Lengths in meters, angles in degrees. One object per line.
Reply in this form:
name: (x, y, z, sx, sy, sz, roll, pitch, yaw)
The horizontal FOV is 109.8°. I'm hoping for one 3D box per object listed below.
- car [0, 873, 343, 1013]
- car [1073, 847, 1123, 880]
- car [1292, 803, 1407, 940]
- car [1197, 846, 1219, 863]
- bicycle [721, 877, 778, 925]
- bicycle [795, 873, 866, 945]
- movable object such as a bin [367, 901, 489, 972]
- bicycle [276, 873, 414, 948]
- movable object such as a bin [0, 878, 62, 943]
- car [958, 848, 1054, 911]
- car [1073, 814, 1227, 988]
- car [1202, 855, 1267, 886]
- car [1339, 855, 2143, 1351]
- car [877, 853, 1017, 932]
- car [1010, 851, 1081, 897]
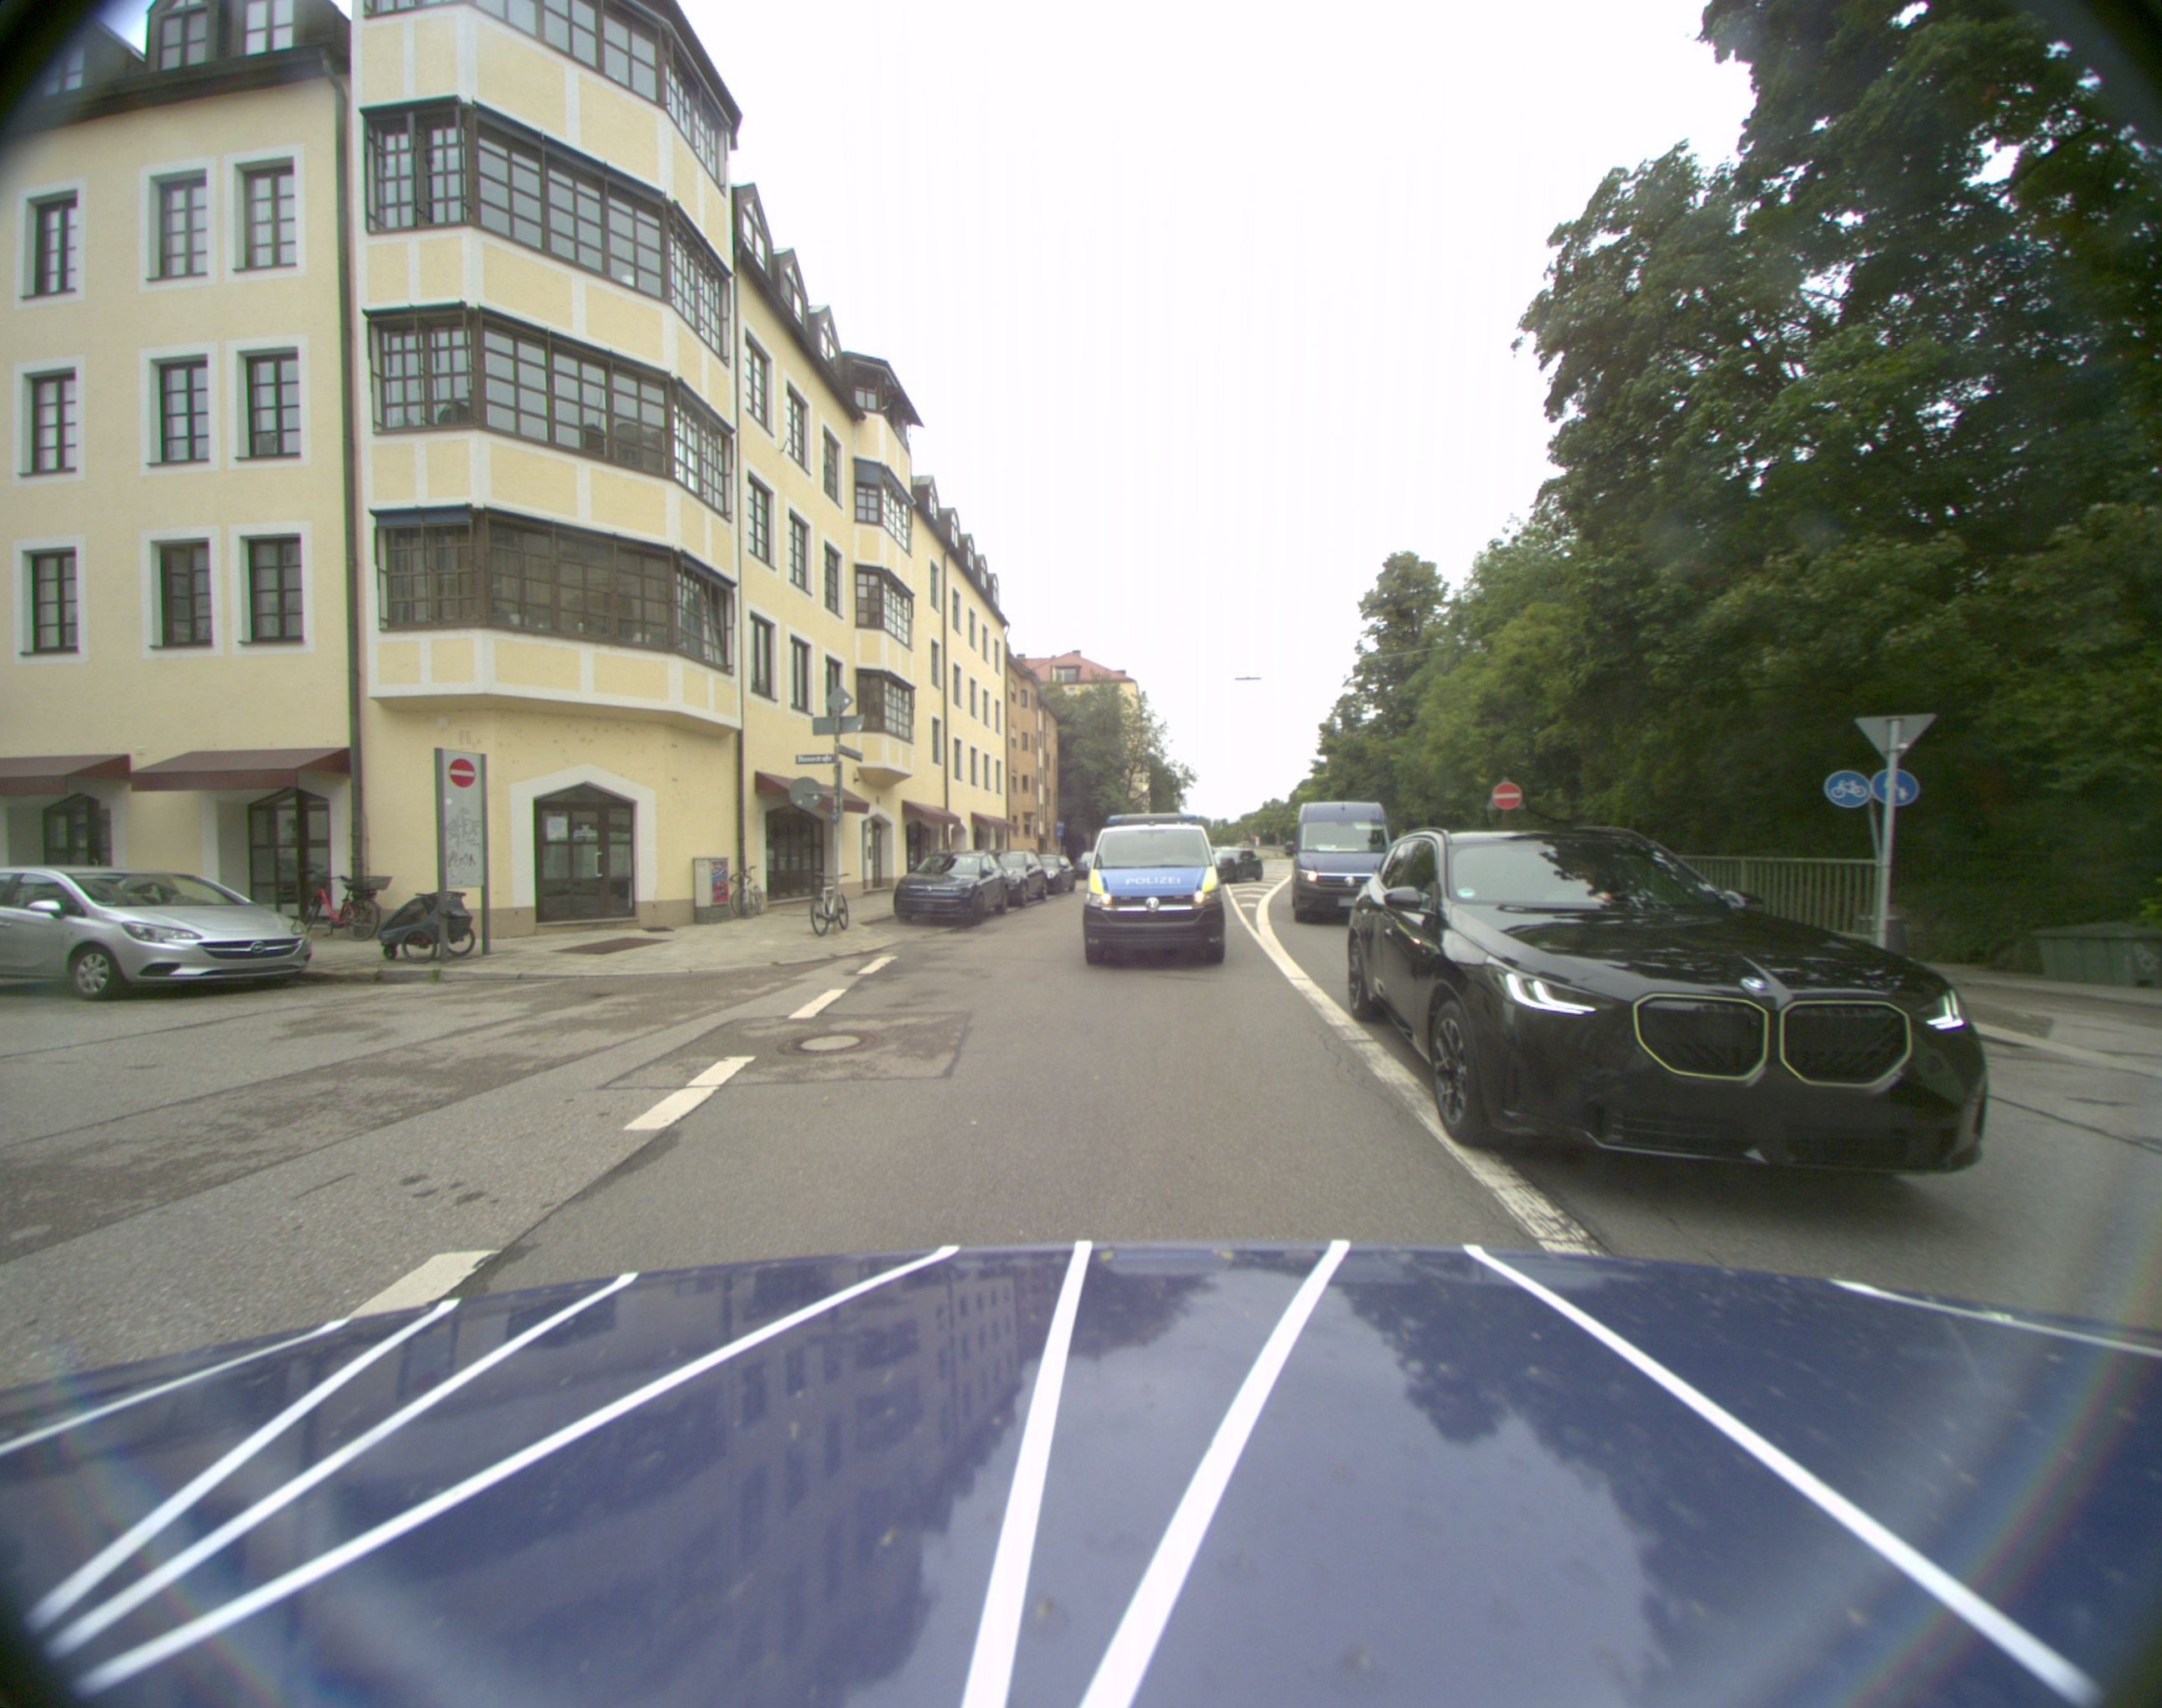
car: (-11.330, 0.957, 9.030, 3.741, 1.431, 1.753, 0, -2, 9)
car: (1.008, 0.444, 41.066, 1.881, 1.642, 5.620, 1, 1, 10)
car: (5.812, 0.251, 17.011, 2.003, 2.477, 6.239, 0, 1, 16)
car: (12.754, 0.003, 76.255, 1.996, 1.587, 4.003, 1, 1, 12)
bicycle: (-7.204, 1.000, 16.591, 0.262, 0.897, 1.696, 4, 2, 8)
bicycle: (-4.646, 0.985, 14.219, 0.430, 1.152, 2.054, 1, 1, 7)
movable object such as a bin: (-9.052, 1.132, 10.558, 1.125, 0.895, 0.684, 0, 1, 6)
bicycle: (-12.114, 0.921, 12.515, 1.904, 1.180, 0.515, 0, 1, 6)
movable object such as a bin: (-18.929, 0.980, 13.327, 1.125, 1.075, 0.768, 0, 1, 6)
car: (-2.183, 0.705, 23.320, 1.816, 1.580, 4.166, 4, 2, 9)
car: (1.208, 0.552, 11.978, 1.825, 2.087, 5.636, -1, 0, 8)
car: (6.644, 0.672, 32.657, 1.492, 1.207, 3.618, 0, 1, 34)
car: (2.953, 0.838, 4.808, 1.919, 1.557, 4.297, 0, 1, 11)
car: (-3.002, 0.803, 18.134, 2.111, 1.613, 4.498, 0, 1, 6)
car: (-1.249, 0.698, 28.366, 1.763, 1.514, 3.935, 1, 1, 10)
